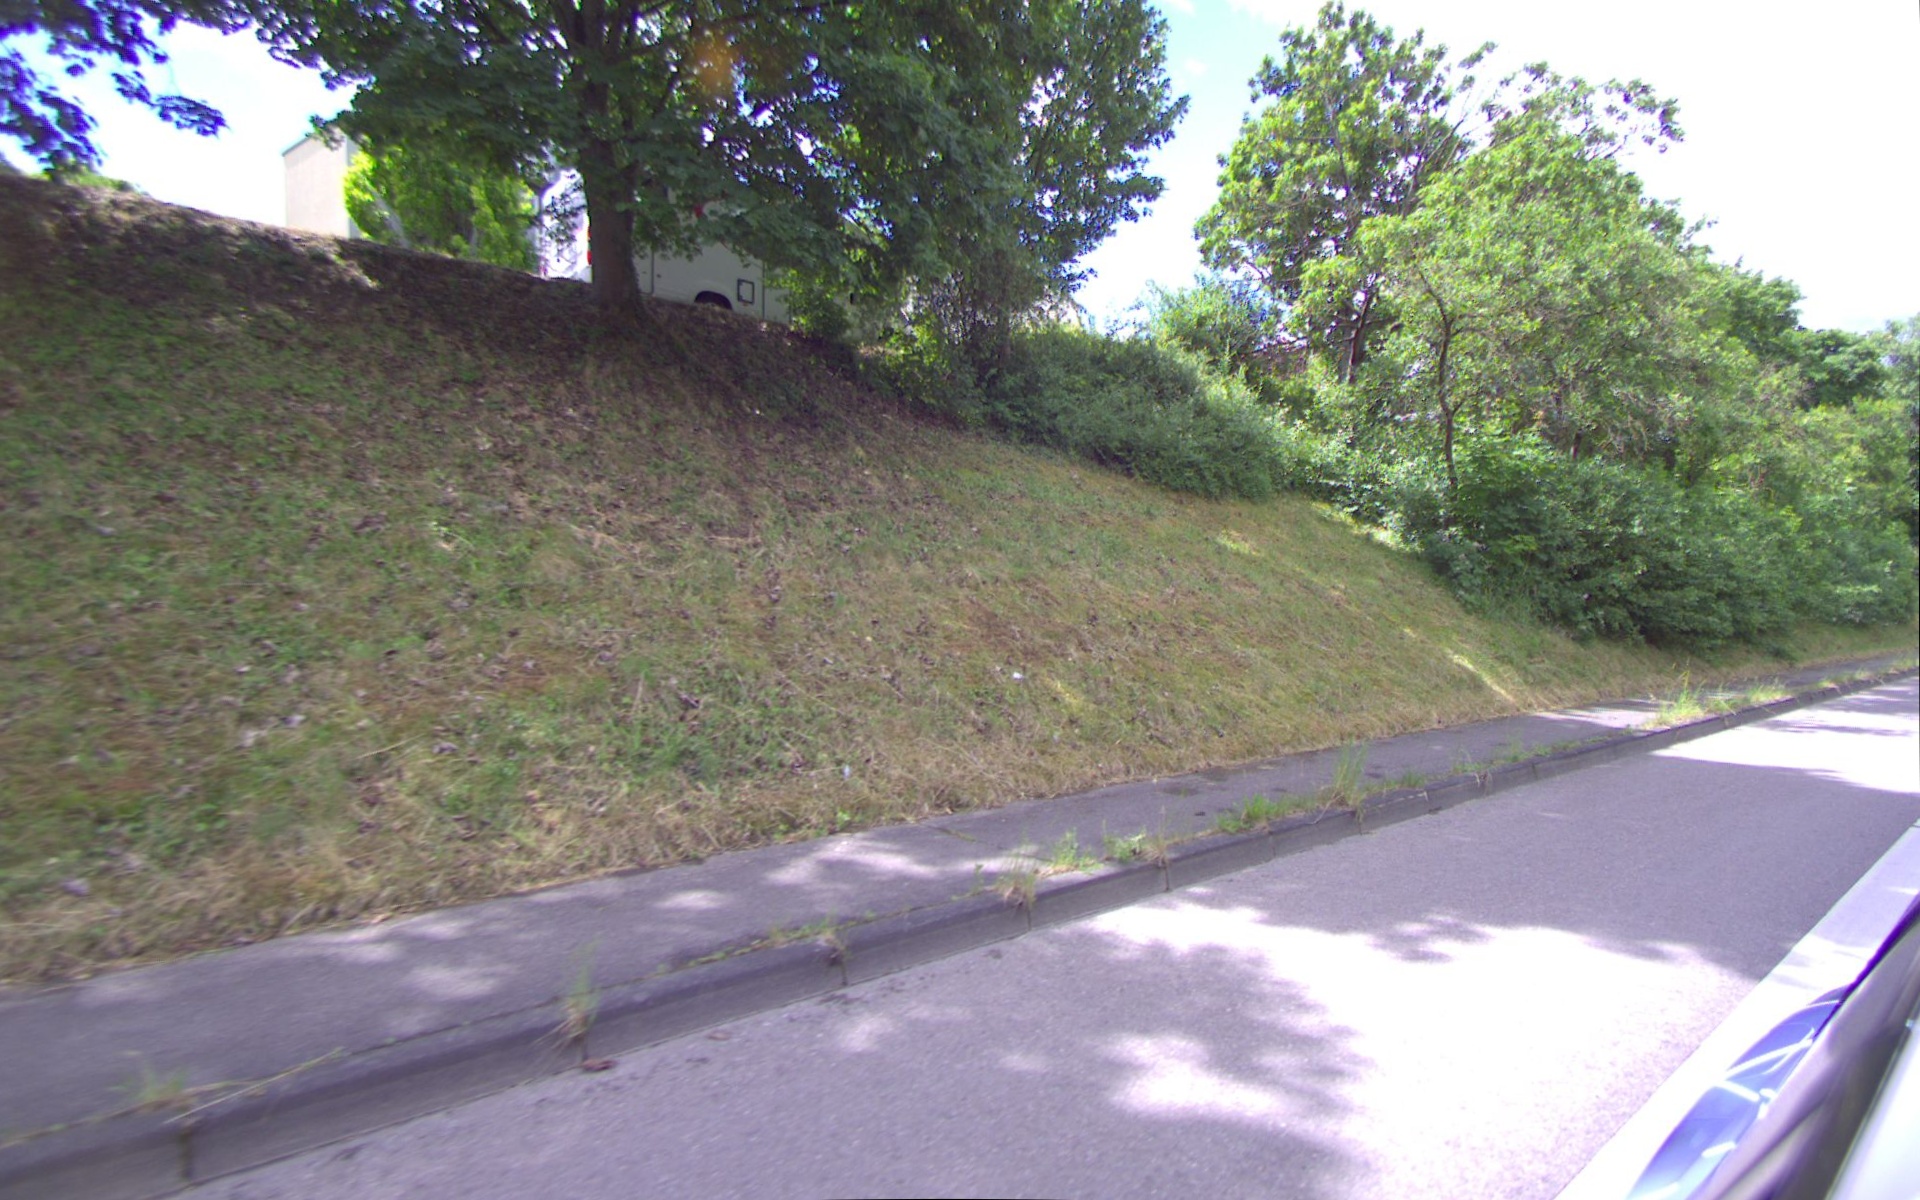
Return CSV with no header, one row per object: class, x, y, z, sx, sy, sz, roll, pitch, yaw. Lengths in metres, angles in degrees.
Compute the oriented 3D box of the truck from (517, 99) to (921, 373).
truck,-4.094,-6.201,18.448,6.920,2.692,2.353,0,0,-43
